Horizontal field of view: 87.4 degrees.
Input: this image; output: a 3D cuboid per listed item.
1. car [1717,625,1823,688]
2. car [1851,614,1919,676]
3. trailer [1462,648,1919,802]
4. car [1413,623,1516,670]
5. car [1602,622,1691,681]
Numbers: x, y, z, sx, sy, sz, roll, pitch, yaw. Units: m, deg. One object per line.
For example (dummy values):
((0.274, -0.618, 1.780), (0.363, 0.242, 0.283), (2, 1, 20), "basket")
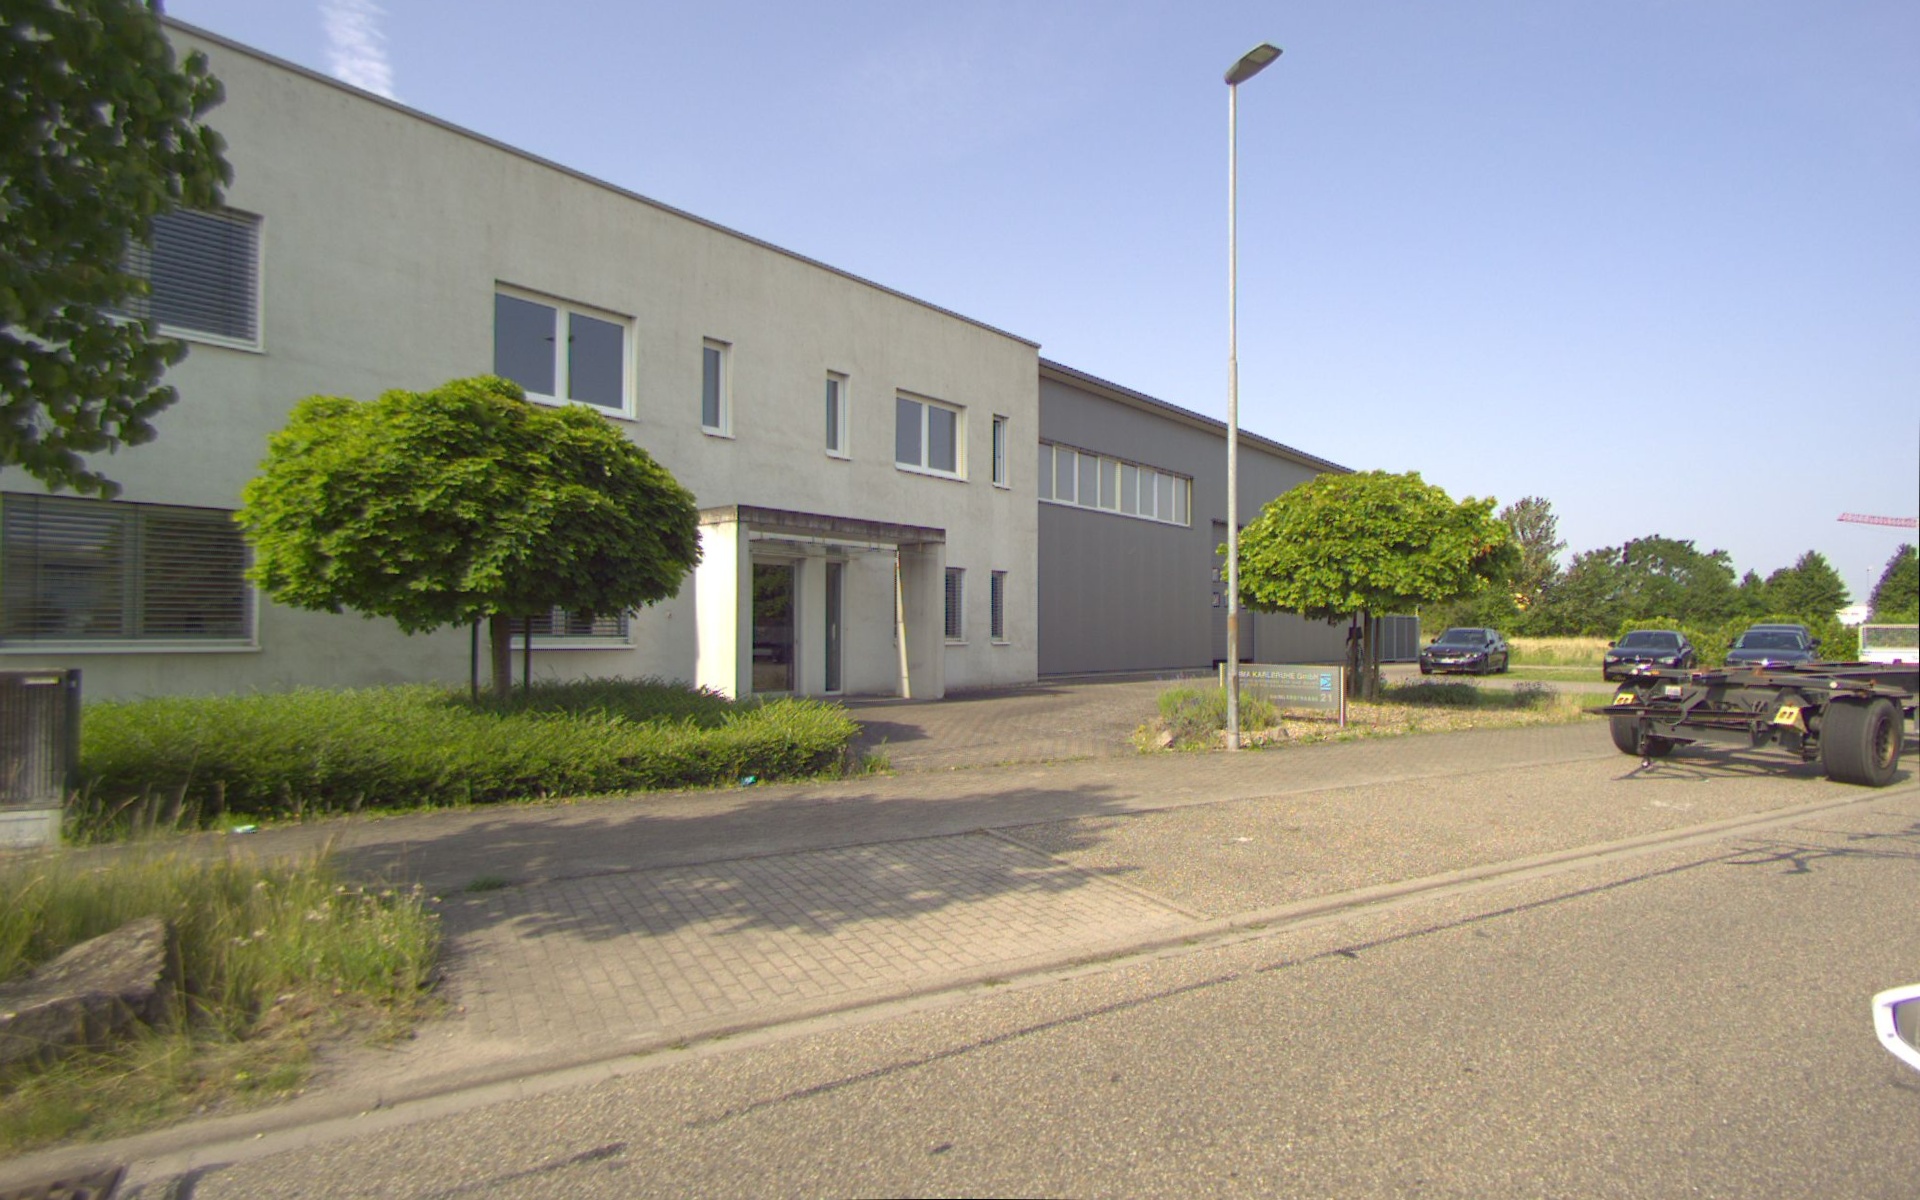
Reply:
((21.245, 1.413, 26.278), (1.954, 1.496, 4.398), (0, -1, 42), "car")
((26.213, 1.247, 28.124), (1.813, 1.593, 3.795), (2, 0, 43), "car")
((10.056, 1.214, 11.961), (9.618, 1.088, 2.533), (1, 0, -31), "trailer")
((15.840, 1.422, 31.451), (1.966, 1.342, 4.330), (0, -1, 40), "car")
((19.244, 1.382, 28.082), (1.659, 1.496, 4.330), (0, -1, 40), "car")
